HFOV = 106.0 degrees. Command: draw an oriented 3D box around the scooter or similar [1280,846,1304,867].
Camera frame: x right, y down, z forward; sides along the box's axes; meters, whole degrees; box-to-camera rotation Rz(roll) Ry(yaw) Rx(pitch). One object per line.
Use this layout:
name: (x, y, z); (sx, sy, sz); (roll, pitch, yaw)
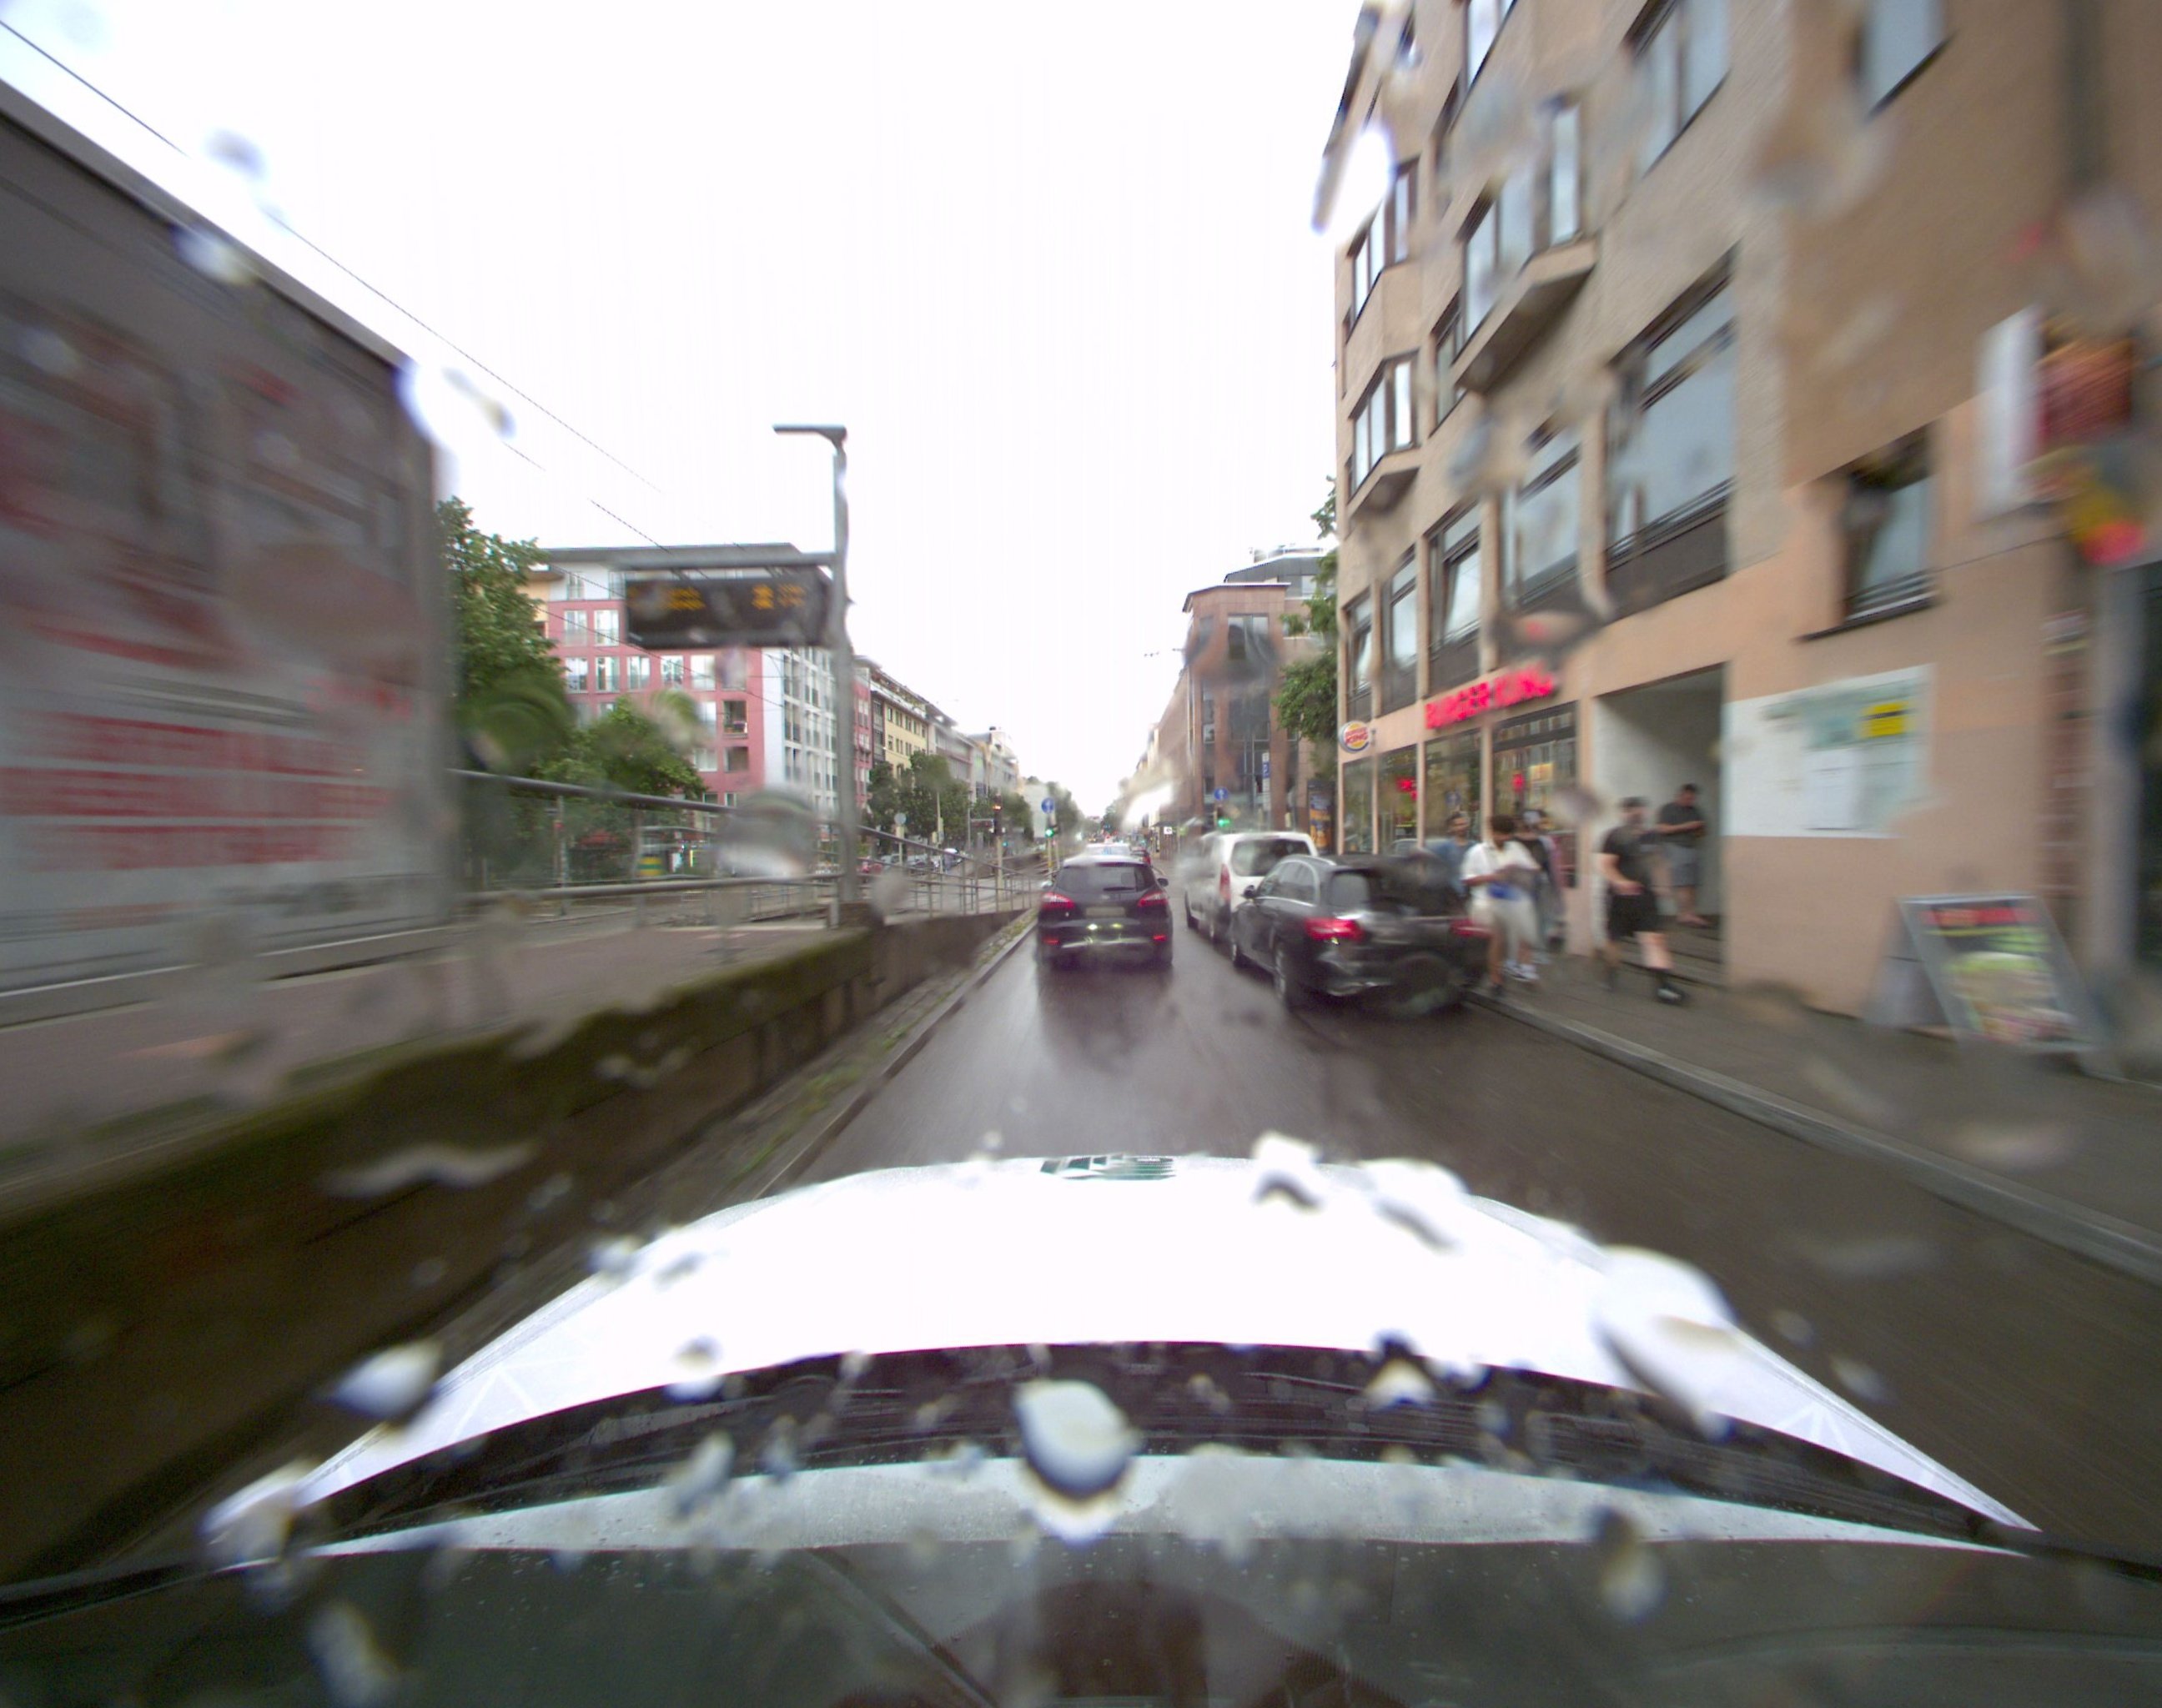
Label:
scooter or similar: (13.022, 0.132, 50.282); (1.367, 1.227, 0.326); (-2, 0, 4)

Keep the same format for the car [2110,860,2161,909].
car: (35.325, 0.920, 25.615); (3.646, 1.455, 1.675); (-2, 0, 3)

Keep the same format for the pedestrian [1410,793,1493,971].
pedestrian: (4.209, 0.310, 9.278); (0.648, 1.948, 0.534); (-2, 0, 3)

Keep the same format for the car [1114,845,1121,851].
car: (10.577, -1.754, 234.774); (1.899, 1.633, 4.577); (-2, 0, 3)

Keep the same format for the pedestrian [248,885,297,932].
pedestrian: (-21.659, 1.453, 21.828); (0.672, 1.178, 0.609); (-2, 0, 7)

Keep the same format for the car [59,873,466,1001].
car: (-12.020, 1.093, 12.522); (1.687, 1.462, 4.529); (-2, 0, -1)

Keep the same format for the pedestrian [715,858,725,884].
pedestrian: (-22.583, 1.043, 50.981); (0.581, 1.631, 0.606); (0, 0, -24)

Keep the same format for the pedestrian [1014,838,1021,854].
pedestrian: (-7.140, -0.882, 91.528); (0.653, 1.801, 0.850); (-2, 0, 0)

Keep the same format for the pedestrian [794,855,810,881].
pedestrian: (-17.989, 0.890, 52.542); (0.818, 1.697, 0.984); (0, 0, -6)

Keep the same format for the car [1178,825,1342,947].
car: (3.021, 0.493, 14.831); (1.900, 1.806, 4.777); (-2, 0, 0)

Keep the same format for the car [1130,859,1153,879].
car: (5.018, 1.223, 68.129); (1.692, 1.462, 3.869); (-4, 0, 2)

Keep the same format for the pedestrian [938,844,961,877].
pedestrian: (-8.287, 0.384, 51.228); (1.112, 2.013, 1.384); (-2, 0, 2)

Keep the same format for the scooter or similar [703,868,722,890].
scooter or similar: (-20.348, 1.364, 44.992); (0.387, 1.191, 1.213); (-2, 0, 3)

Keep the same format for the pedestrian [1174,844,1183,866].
pedestrian: (7.443, 0.095, 62.293); (0.599, 1.659, 0.626); (-2, 0, 2)

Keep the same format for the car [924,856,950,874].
car: (-12.534, 0.897, 71.066); (1.563, 1.436, 3.977); (-2, 0, -1)

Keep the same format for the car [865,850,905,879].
car: (-13.500, 0.712, 56.312); (1.702, 1.858, 4.320); (-2, 0, 0)

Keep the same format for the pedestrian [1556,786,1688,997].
pedestrian: (4.907, 0.332, 7.419); (0.753, 1.819, 0.589); (-2, 0, 3)

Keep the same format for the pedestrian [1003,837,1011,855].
pedestrian: (-7.096, -0.792, 77.945); (0.653, 1.711, 0.850); (-2, 0, 0)

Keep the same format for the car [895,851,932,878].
car: (-12.523, 0.763, 61.051); (1.797, 1.858, 4.379); (-2, 0, 0)

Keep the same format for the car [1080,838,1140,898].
car: (1.028, 0.450, 28.614); (1.899, 1.864, 4.576); (-2, 0, 2)

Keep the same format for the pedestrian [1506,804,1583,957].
pedestrian: (5.372, 0.303, 9.459); (0.573, 1.714, 0.477); (-2, 0, 3)

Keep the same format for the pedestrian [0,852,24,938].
pedestrian: (-20.401, 0.782, 15.066); (0.556, 1.596, 0.819); (-2, 0, 3)

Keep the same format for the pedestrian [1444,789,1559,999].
pedestrian: (3.910, 0.359, 7.623); (0.692, 1.855, 0.653); (-2, 0, 3)

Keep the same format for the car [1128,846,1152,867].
car: (4.609, 0.158, 63.813); (1.691, 1.479, 3.871); (-4, 0, 3)

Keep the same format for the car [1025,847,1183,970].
car: (0.356, 0.677, 11.733); (1.899, 1.462, 3.447); (-2, 0, 2)

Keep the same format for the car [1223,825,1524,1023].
car: (2.851, 0.594, 9.084); (1.899, 1.615, 4.416); (-2, 0, 2)

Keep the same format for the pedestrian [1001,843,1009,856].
pedestrian: (-7.456, -0.401, 80.160); (0.690, 1.249, 0.884); (-2, 0, 0)

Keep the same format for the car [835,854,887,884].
car: (-13.696, 0.904, 50.920); (1.719, 1.611, 4.557); (-2, 1, 3)

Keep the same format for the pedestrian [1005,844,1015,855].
pedestrian: (-7.183, -0.449, 82.546); (0.892, 1.123, 0.847); (-2, 0, -9)

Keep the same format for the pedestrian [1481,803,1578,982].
pedestrian: (4.494, 0.371, 8.186); (0.608, 1.714, 0.581); (-2, 0, 3)

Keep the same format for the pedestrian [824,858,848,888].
pedestrian: (-13.584, 1.050, 45.153); (0.871, 1.631, 0.813); (0, 3, 32)

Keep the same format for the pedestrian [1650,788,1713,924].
pedestrian: (6.599, 0.018, 8.959); (0.357, 1.453, 0.373); (-2, 0, -1)
